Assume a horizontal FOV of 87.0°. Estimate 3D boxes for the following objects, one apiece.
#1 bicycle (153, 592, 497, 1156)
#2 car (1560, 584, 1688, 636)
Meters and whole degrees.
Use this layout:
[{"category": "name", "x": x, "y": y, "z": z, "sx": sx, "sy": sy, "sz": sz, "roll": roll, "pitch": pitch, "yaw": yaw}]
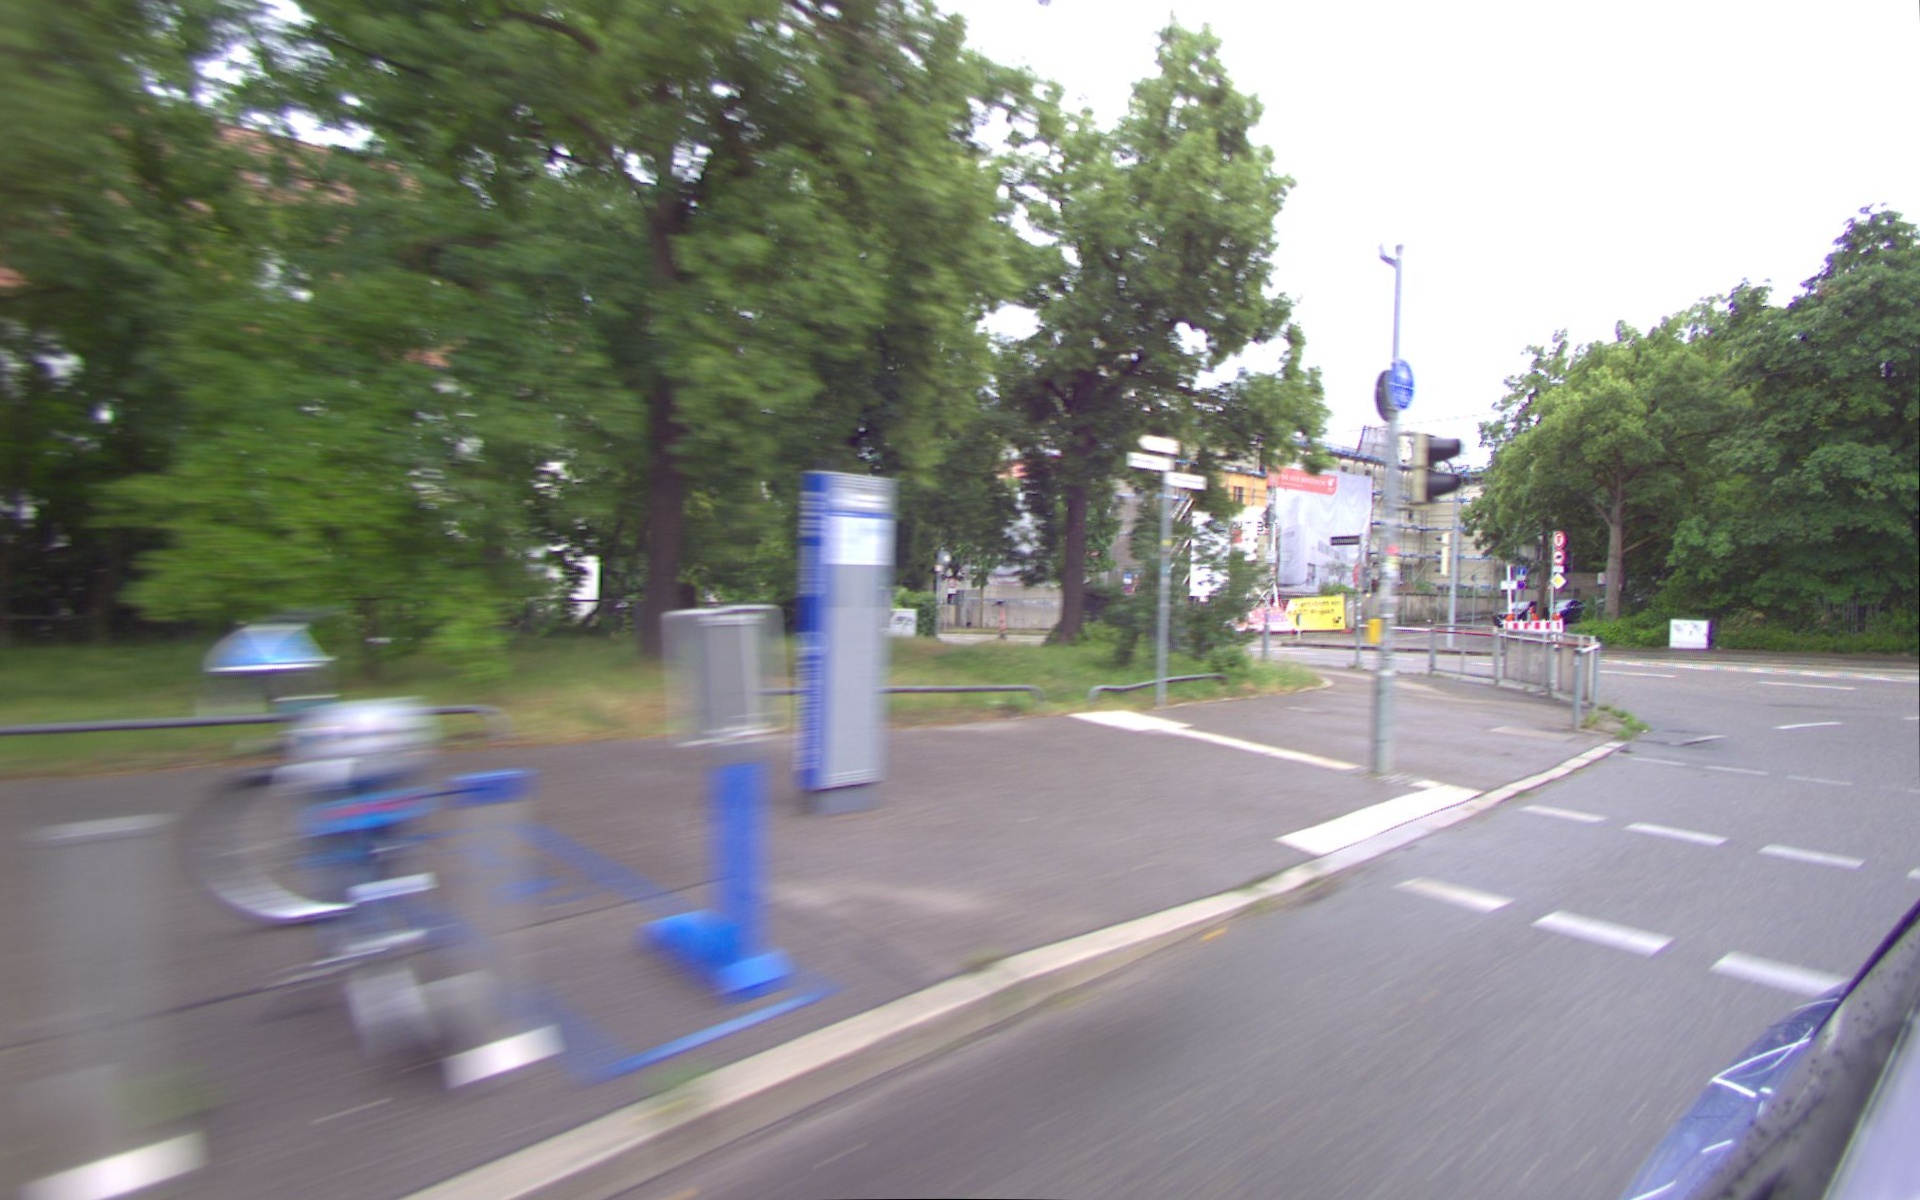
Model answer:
[{"category": "bicycle", "x": -1.956, "y": 0.610, "z": 3.010, "sx": 0.548, "sy": 1.145, "sz": 1.598, "roll": -1, "pitch": 5, "yaw": -44}, {"category": "car", "x": 27.478, "y": 0.390, "z": 41.992, "sx": 3.931, "sy": 2.039, "sz": 1.997, "roll": 1, "pitch": 0, "yaw": 6}]
